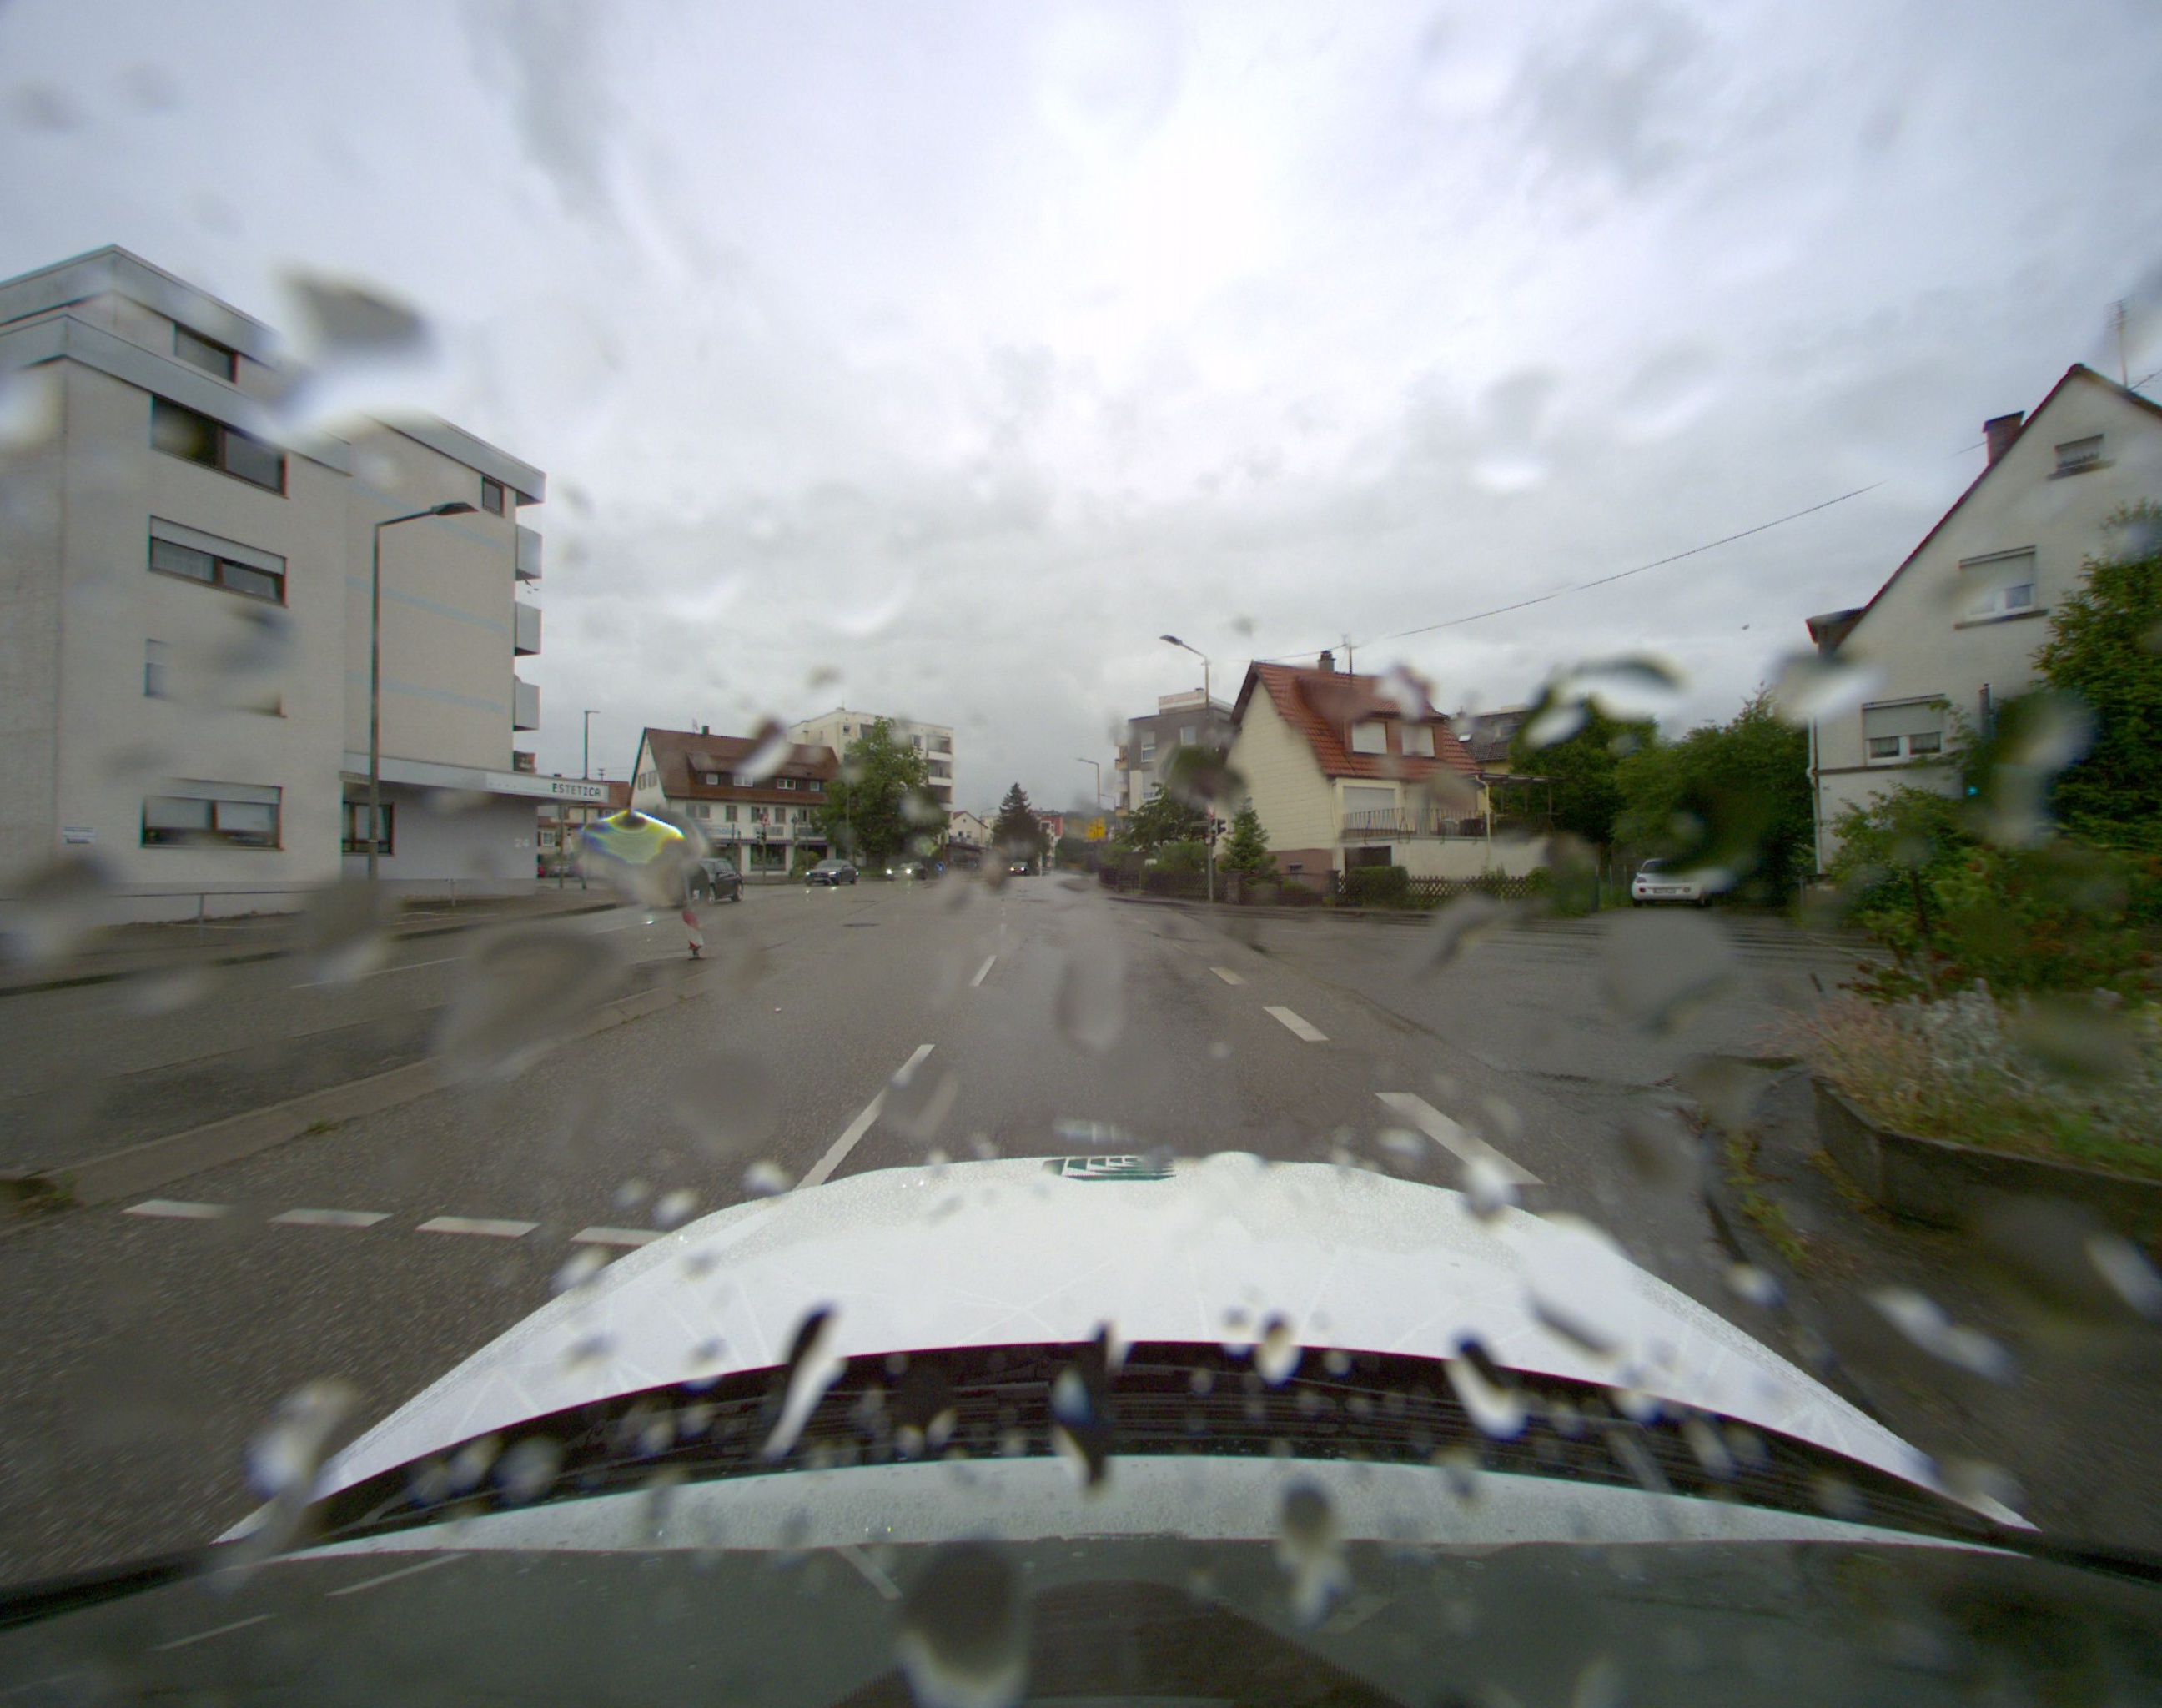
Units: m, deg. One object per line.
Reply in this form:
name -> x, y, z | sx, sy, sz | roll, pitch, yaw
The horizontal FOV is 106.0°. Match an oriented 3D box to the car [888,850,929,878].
car -> -12.760, 0.734, 60.590 | 1.986, 2.014, 4.652 | 0, 0, 1

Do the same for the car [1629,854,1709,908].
car -> 17.799, 0.755, 24.686 | 1.827, 1.496, 3.766 | -1, -1, 36

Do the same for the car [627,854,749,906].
car -> -11.964, 0.738, 25.128 | 1.782, 1.472, 4.161 | 0, 0, -1

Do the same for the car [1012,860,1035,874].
car -> -6.426, 1.418, 91.194 | 1.793, 1.557, 4.327 | 0, 0, 7

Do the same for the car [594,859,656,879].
car -> -36.019, 1.189, 64.337 | 4.020, 1.526, 1.977 | 0, -1, -40

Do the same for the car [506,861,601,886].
car -> -40.848, 1.460, 63.211 | 1.975, 1.842, 5.887 | -1, -1, 43

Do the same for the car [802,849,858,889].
car -> -14.295, 0.820, 46.744 | 2.089, 2.013, 5.963 | -2, 0, -8
